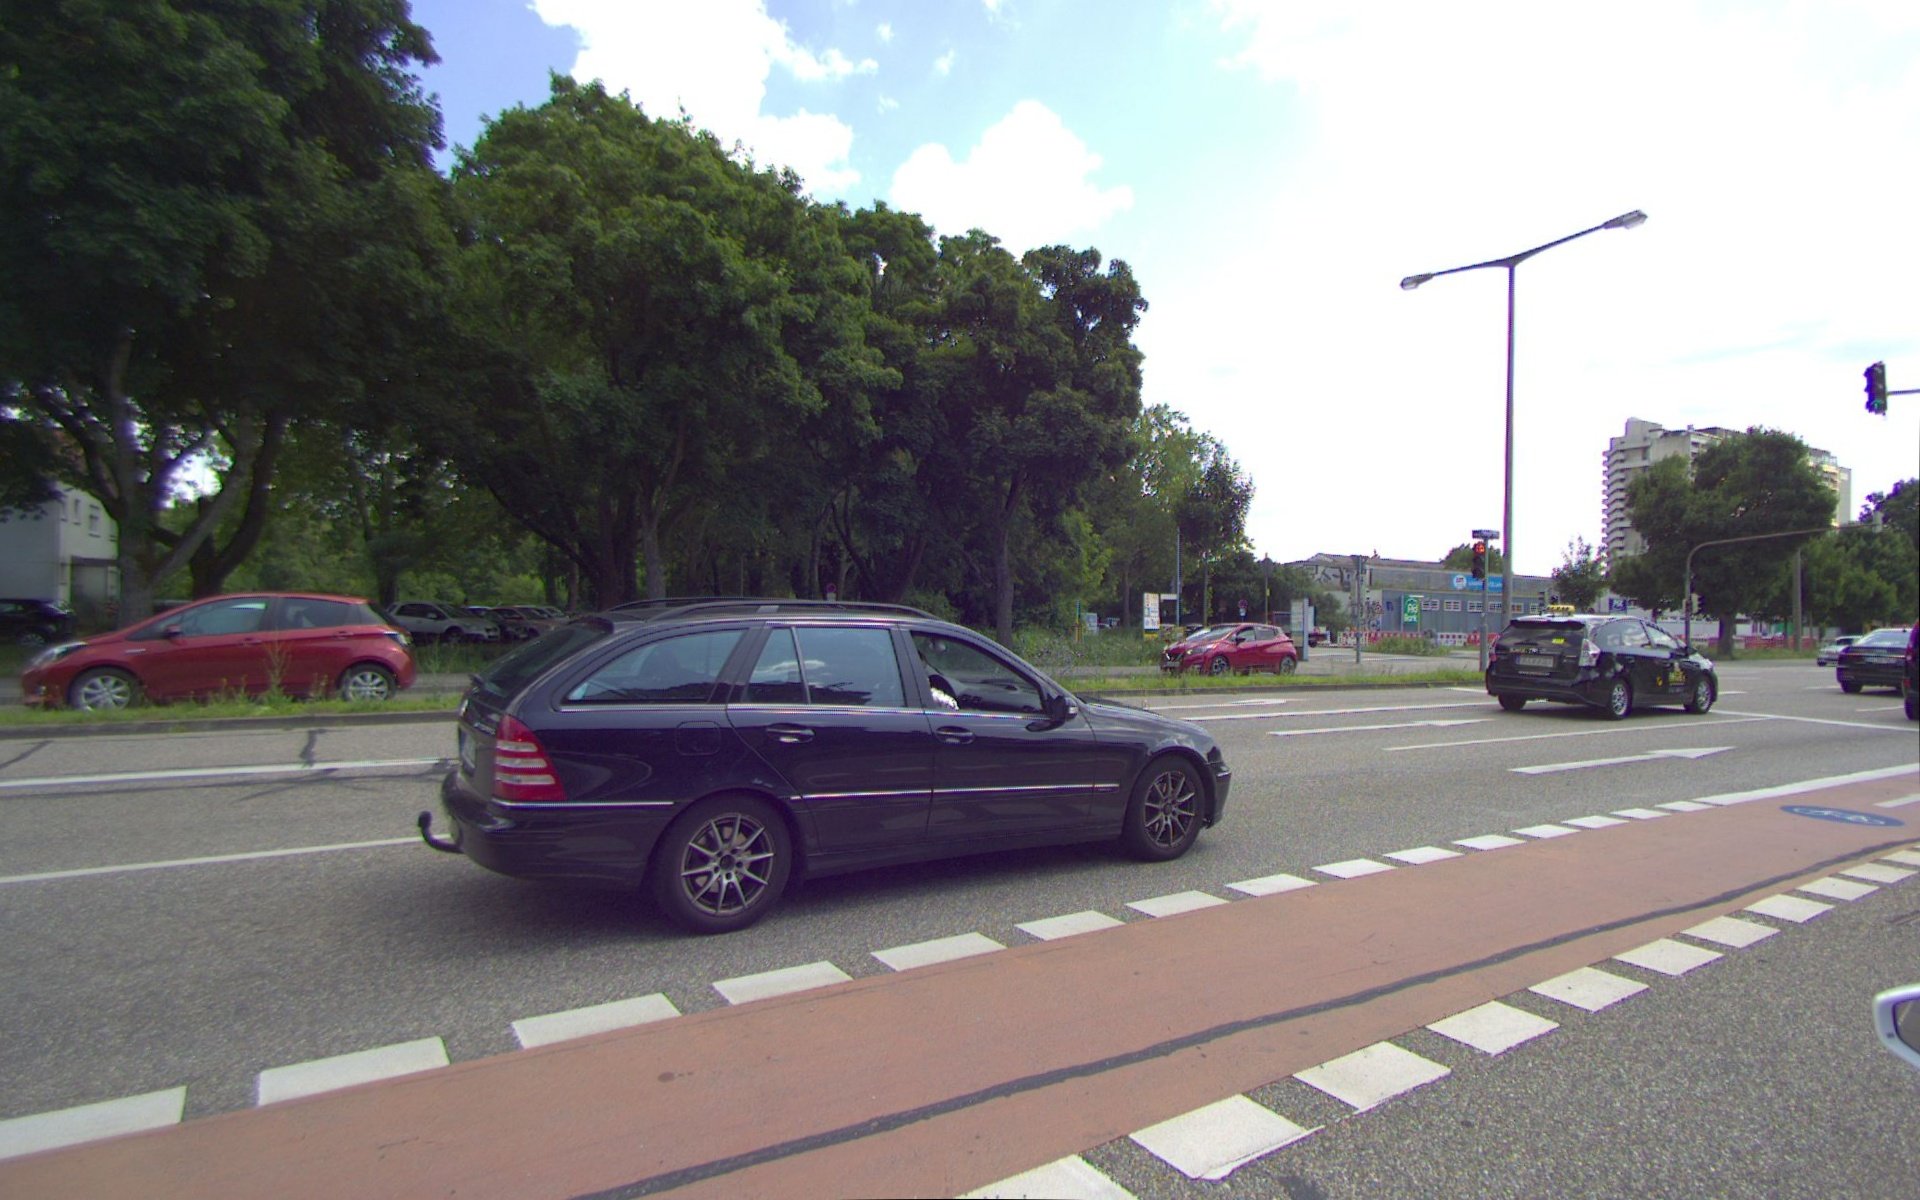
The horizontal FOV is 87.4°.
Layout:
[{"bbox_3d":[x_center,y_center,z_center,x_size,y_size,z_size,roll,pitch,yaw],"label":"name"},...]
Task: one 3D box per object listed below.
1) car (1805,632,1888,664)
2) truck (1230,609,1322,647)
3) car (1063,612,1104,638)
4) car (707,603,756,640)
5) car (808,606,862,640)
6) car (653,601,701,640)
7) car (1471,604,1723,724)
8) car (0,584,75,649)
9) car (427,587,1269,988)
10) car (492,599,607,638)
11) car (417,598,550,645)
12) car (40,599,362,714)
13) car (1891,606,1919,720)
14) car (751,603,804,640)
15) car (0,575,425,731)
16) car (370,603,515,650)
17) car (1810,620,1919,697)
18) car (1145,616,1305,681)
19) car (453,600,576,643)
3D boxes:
[{"bbox_3d":[42.051,2.261,47.647,4.446,1.451,1.790,1,-1,-32],"label":"car"},{"bbox_3d":[21.645,1.909,69.254,2.987,2.472,6.970,1,-1,-12],"label":"truck"},{"bbox_3d":[9.104,1.809,74.211,1.904,1.817,3.611,2,0,-13],"label":"car"},{"bbox_3d":[-11.502,1.062,50.419,1.793,1.732,4.106,1,-1,-22],"label":"car"},{"bbox_3d":[-6.709,1.220,53.560,2.044,1.748,4.111,1,-1,-19],"label":"car"},{"bbox_3d":[-13.745,0.986,48.721,1.793,1.750,4.106,1,-1,-22],"label":"car"},{"bbox_3d":[10.364,0.973,16.266,4.293,1.690,1.775,2,0,-33],"label":"car"},{"bbox_3d":[-26.262,0.408,26.491,4.331,1.679,1.790,2,0,-42],"label":"car"},{"bbox_3d":[-0.445,0.751,5.652,4.385,1.485,1.745,2,0,-33],"label":"car"},{"bbox_3d":[-17.081,0.771,41.956,3.941,1.565,2.001,1,-1,6],"label":"car"},{"bbox_3d":[-17.520,0.789,37.040,3.941,1.608,2.001,1,-1,6],"label":"car"},{"bbox_3d":[-10.858,0.781,14.688,3.556,1.464,1.602,2,0,-34],"label":"car"},{"bbox_3d":[17.136,1.065,16.497,3.866,1.801,1.750,2,0,-32],"label":"car"},{"bbox_3d":[-9.376,1.098,51.268,2.014,1.748,4.559,1,-1,-19],"label":"car"},{"bbox_3d":[-8.942,0.614,12.442,3.956,1.639,1.983,1,-1,-32],"label":"car"},{"bbox_3d":[-17.661,0.890,34.407,3.941,1.503,2.001,1,-1,6],"label":"car"},{"bbox_3d":[20.838,1.273,22.369,3.957,1.524,1.853,2,0,-33],"label":"car"},{"bbox_3d":[6.945,1.237,26.207,3.958,1.532,1.876,2,0,-34],"label":"car"},{"bbox_3d":[-17.446,0.851,39.473,3.942,1.608,2.001,-1,-1,6],"label":"car"}]
